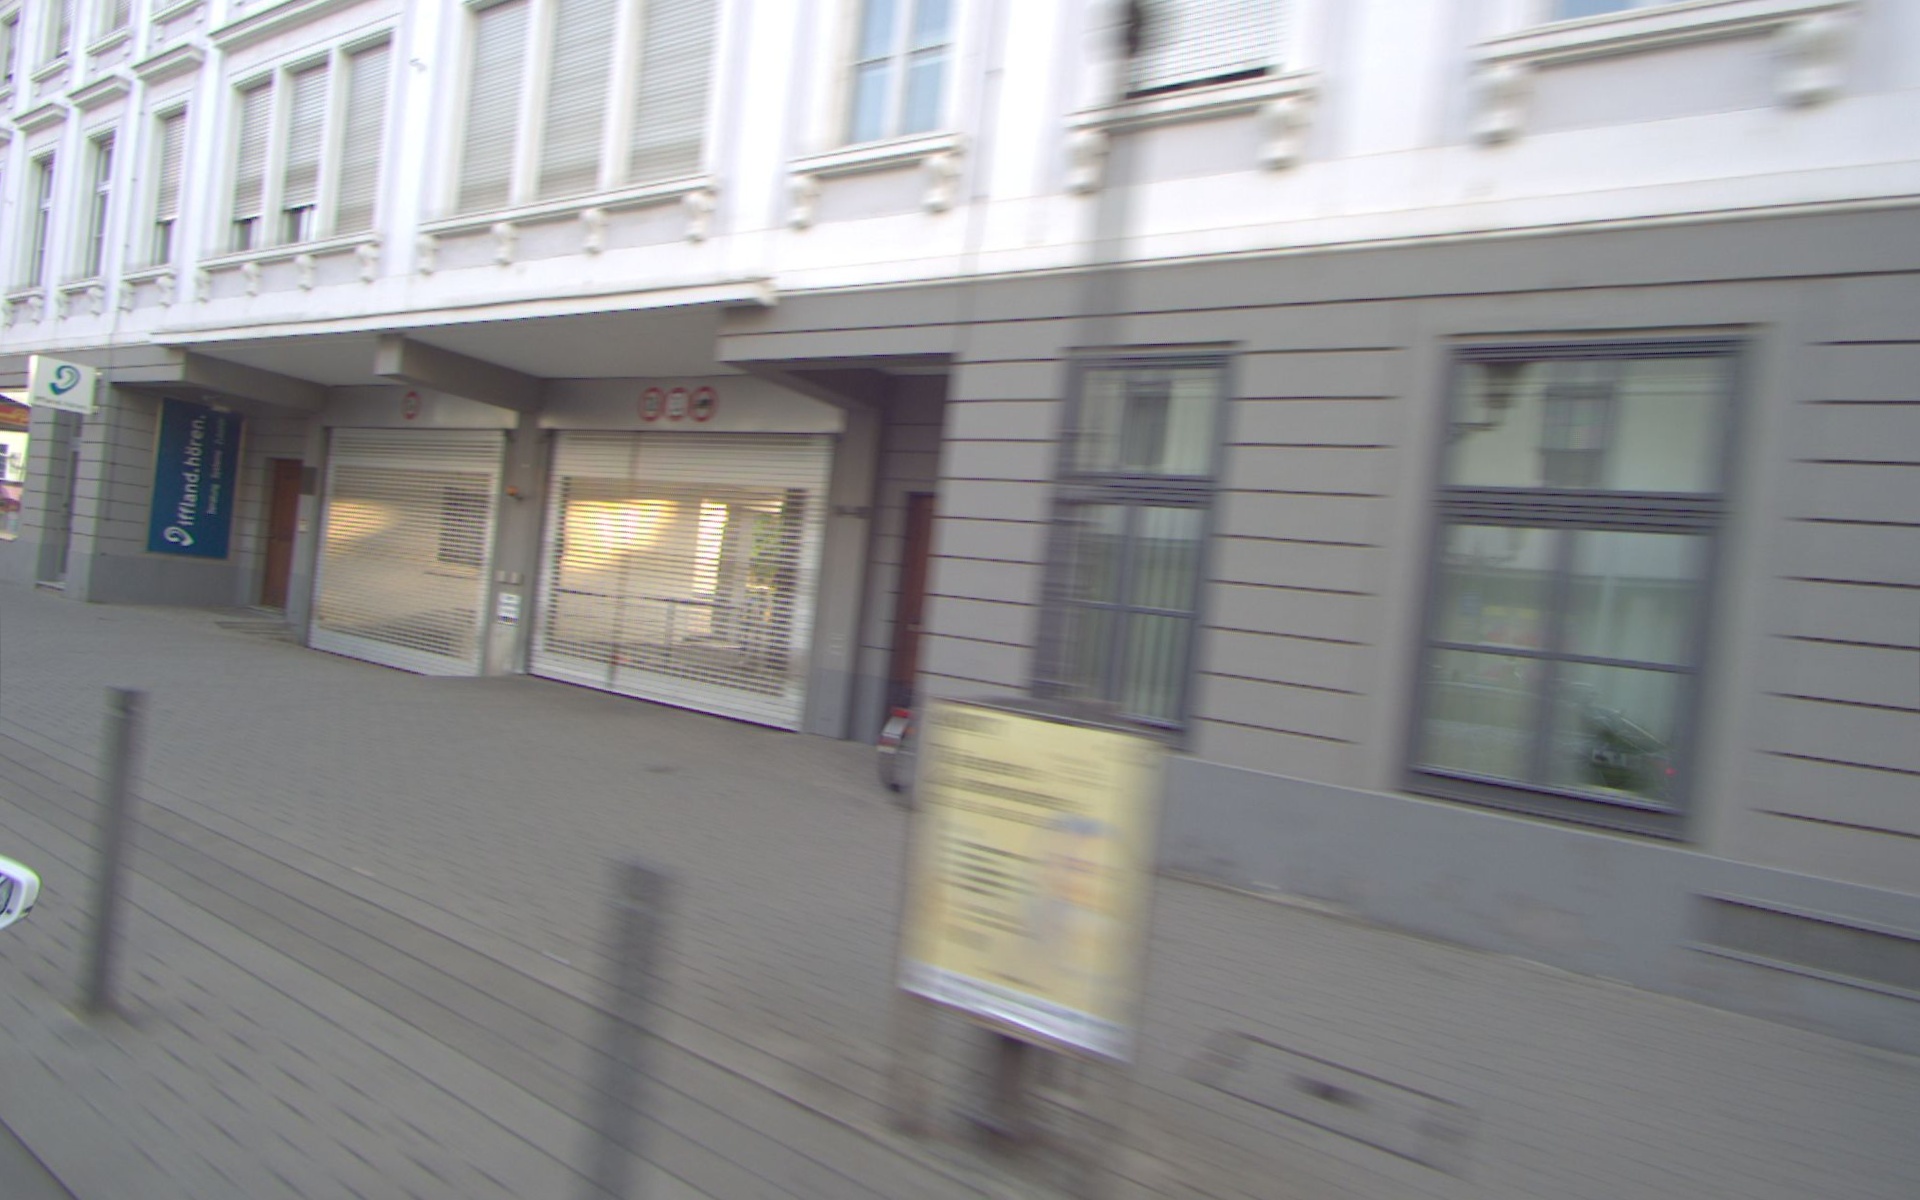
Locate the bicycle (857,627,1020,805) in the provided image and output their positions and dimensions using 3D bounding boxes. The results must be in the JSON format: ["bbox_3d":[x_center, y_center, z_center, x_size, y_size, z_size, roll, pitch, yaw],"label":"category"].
[{"bbox_3d":[-0.124,0.912,8.201,0.431,1.267,1.660,7,0,28],"label":"bicycle"}]
